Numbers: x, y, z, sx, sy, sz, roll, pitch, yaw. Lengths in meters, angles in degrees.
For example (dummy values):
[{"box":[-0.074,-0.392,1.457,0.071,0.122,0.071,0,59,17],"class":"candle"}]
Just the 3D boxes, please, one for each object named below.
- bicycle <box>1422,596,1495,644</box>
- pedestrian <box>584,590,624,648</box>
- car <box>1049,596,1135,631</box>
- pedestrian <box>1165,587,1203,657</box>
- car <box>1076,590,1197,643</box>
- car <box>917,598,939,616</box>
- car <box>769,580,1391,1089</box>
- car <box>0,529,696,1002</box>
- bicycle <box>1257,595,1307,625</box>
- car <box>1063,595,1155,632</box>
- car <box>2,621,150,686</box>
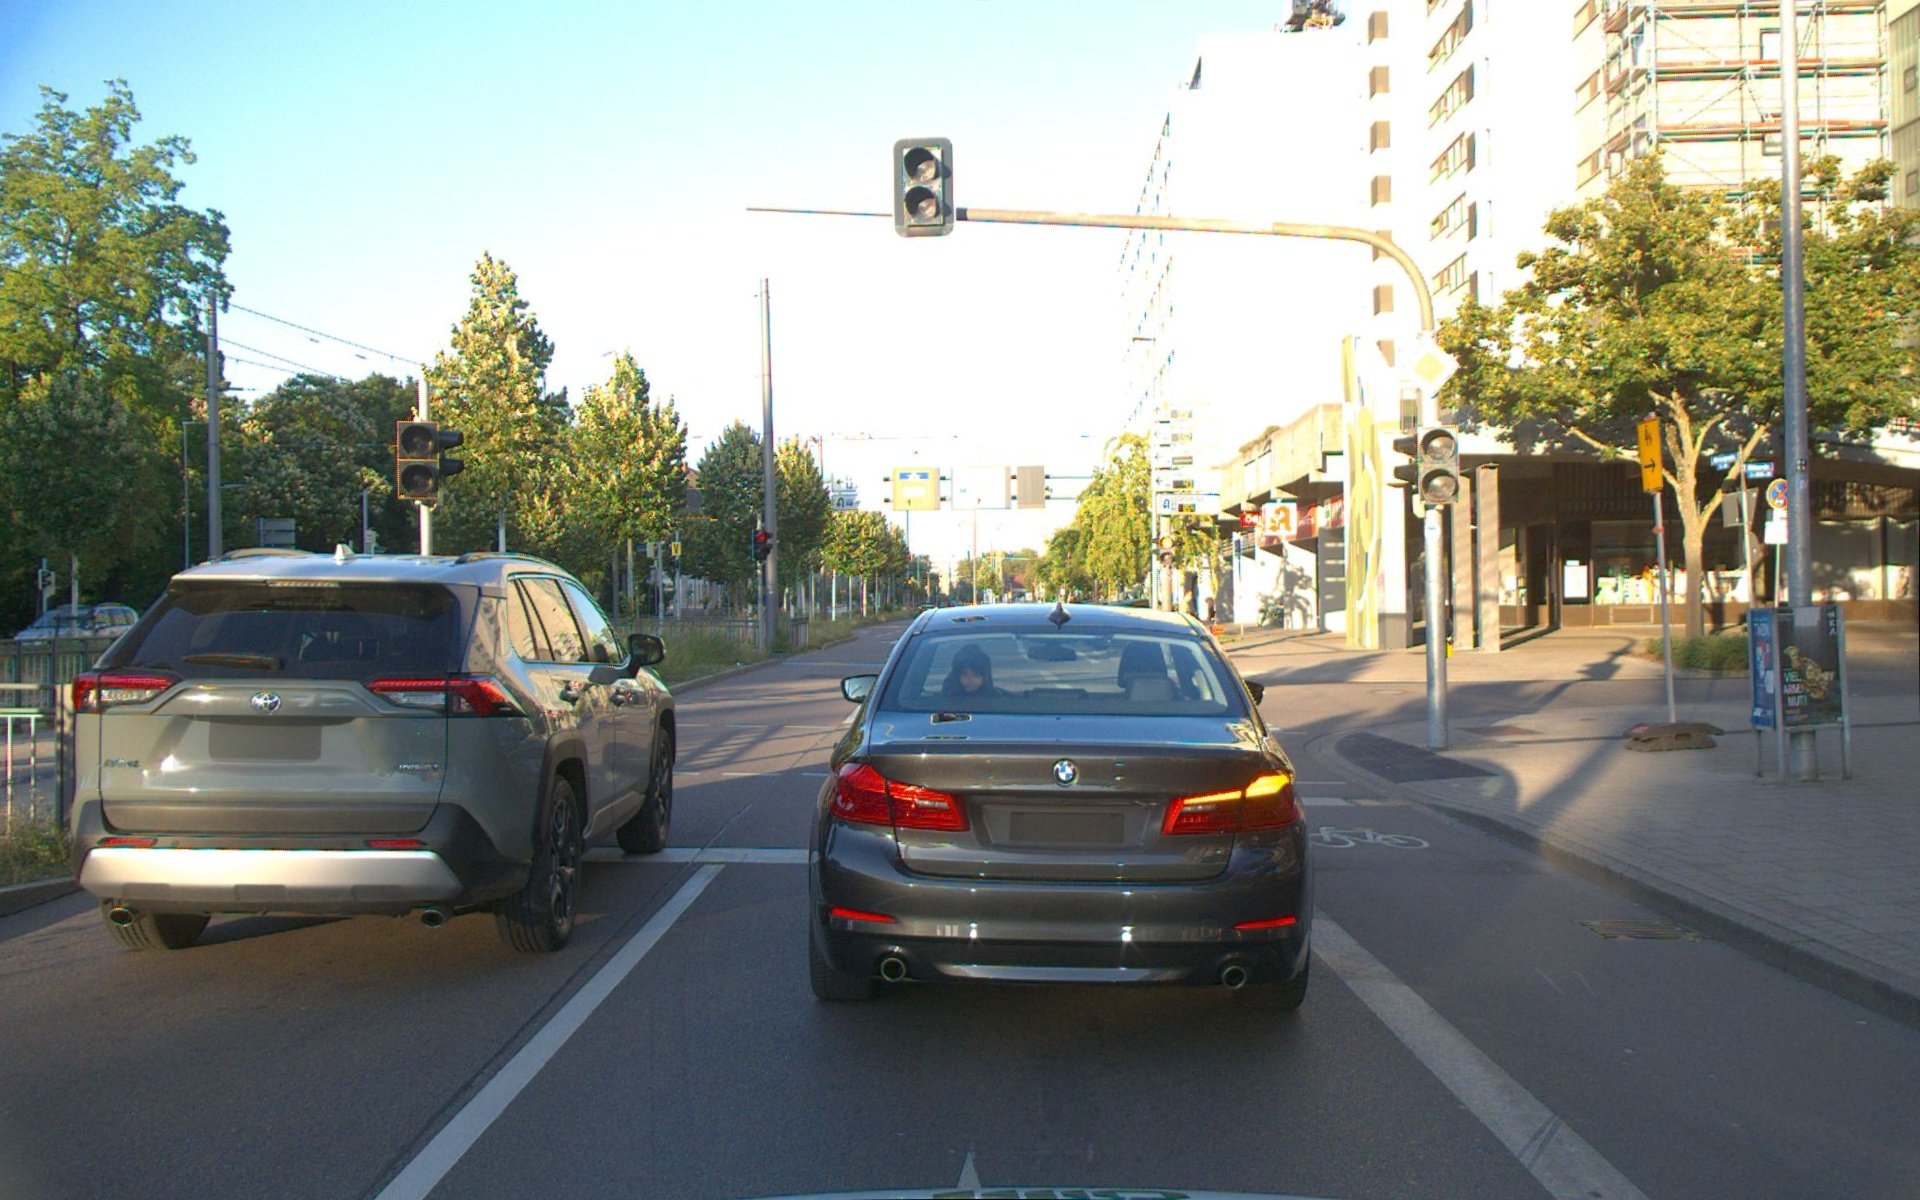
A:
[{"box":[12.496,0.500,41.520,0.678,1.169,2.012,2,-1,-18],"class":"bicycle"},{"box":[-9.972,0.525,46.329,0.817,1.614,0.813,-1,0,11],"class":"pedestrian"},{"box":[6.832,0.682,85.458,4.219,1.687,1.838,0,1,-36],"class":"car"},{"box":[5.660,0.553,41.859,0.818,1.742,0.647,-1,0,-2],"class":"pedestrian"},{"box":[6.074,0.525,56.695,4.234,1.687,1.831,-1,1,-43],"class":"car"},{"box":[-2.818,0.614,146.892,1.938,1.458,4.843,0,1,0],"class":"car"},{"box":[0.373,0.693,7.313,1.892,1.507,4.523,0,1,0],"class":"car"},{"box":[-2.530,0.551,8.050,1.816,1.687,4.268,0,1,0],"class":"car"},{"box":[13.458,0.431,69.163,1.974,1.169,0.691,2,-1,6],"class":"bicycle"},{"box":[7.133,0.632,78.909,4.221,1.687,1.837,0,1,-36],"class":"car"},{"box":[-22.716,1.342,42.671,1.763,1.507,3.783,-1,0,0],"class":"car"}]
